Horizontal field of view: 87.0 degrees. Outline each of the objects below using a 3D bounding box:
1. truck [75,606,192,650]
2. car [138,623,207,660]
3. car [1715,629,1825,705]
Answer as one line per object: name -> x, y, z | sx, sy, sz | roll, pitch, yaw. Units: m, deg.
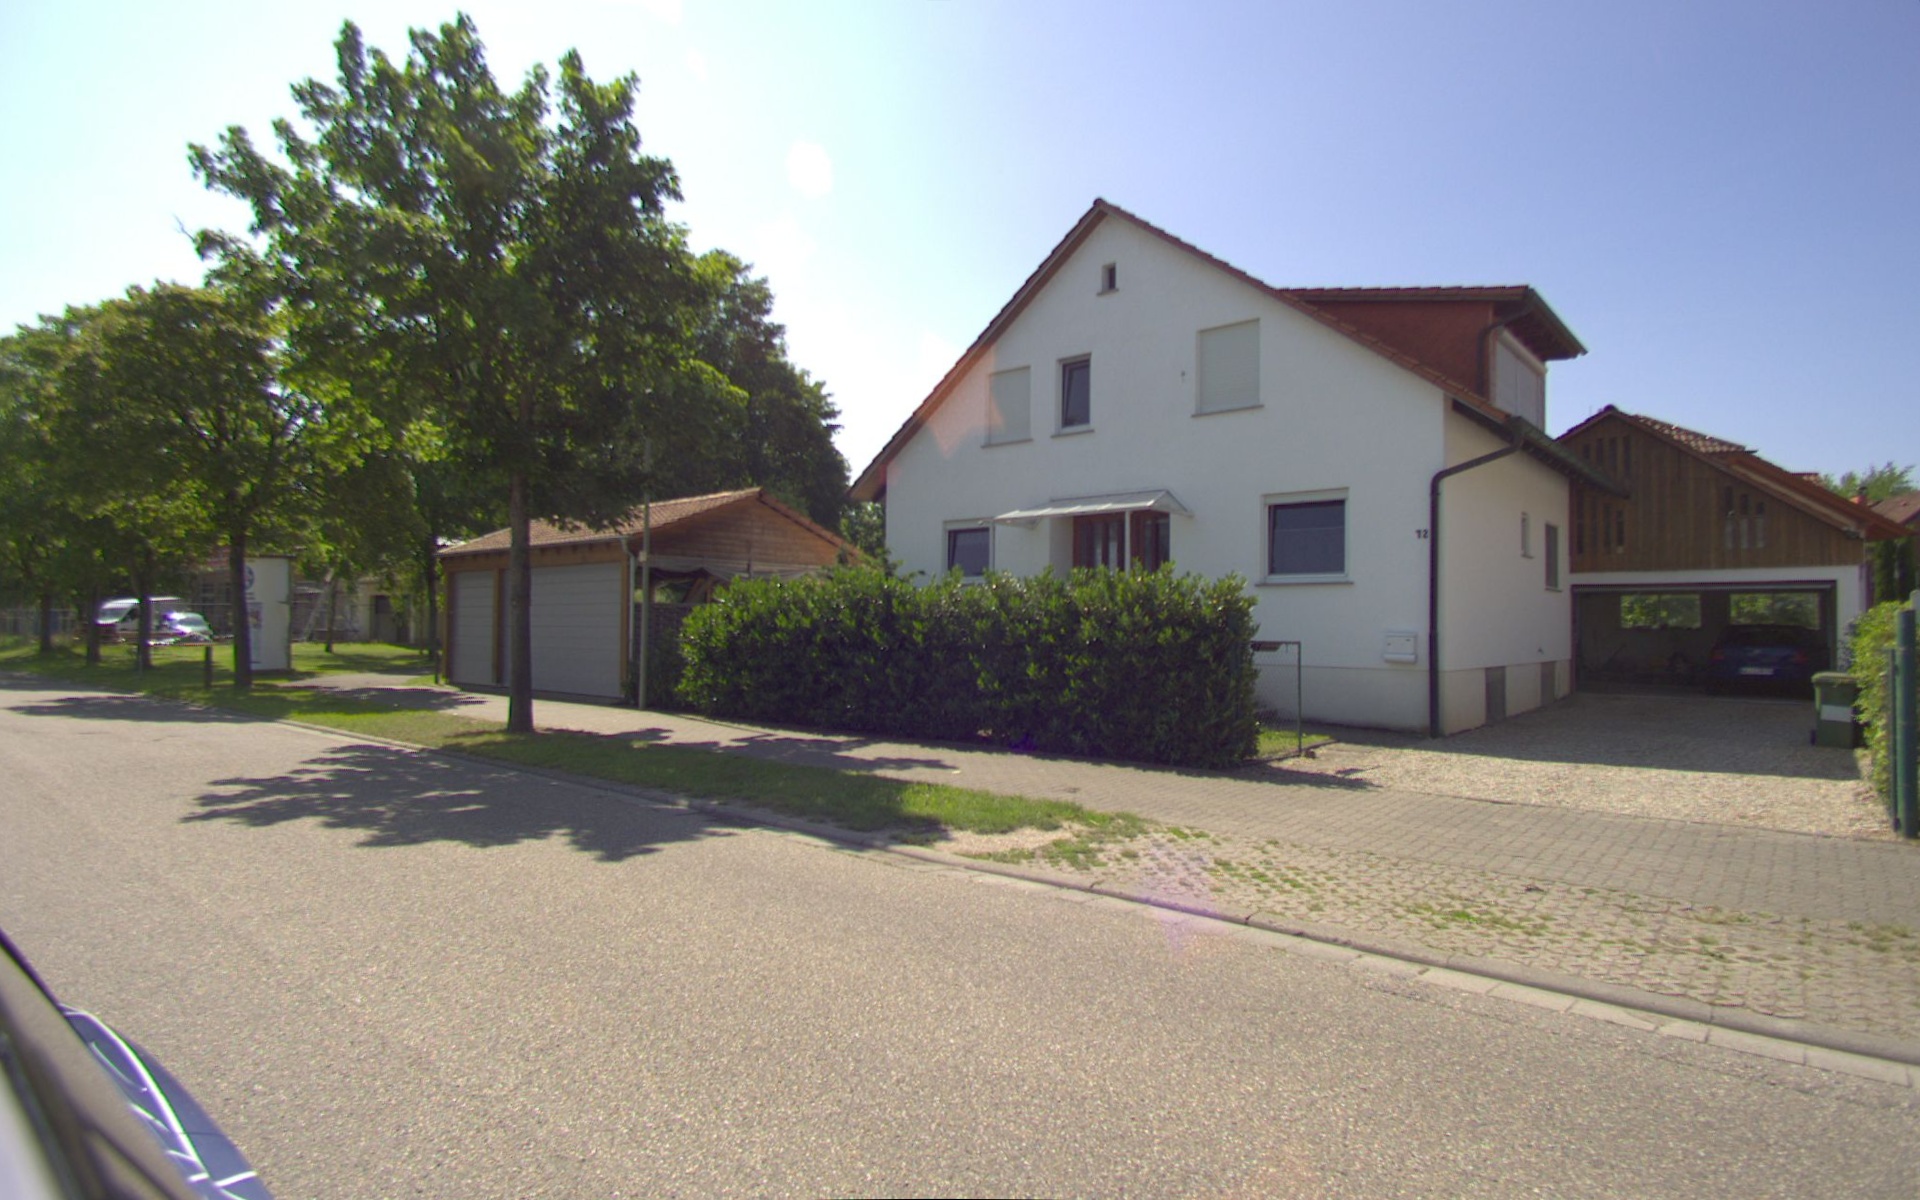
truck -> -49.373, 1.653, 60.663 | 1.973, 2.502, 5.927 | 0, -1, 2
car -> -41.346, 2.151, 53.104 | 4.323, 1.852, 1.951 | -1, -2, 39
car -> 15.895, 1.249, 19.824 | 1.534, 1.334, 3.022 | -1, -2, 41
